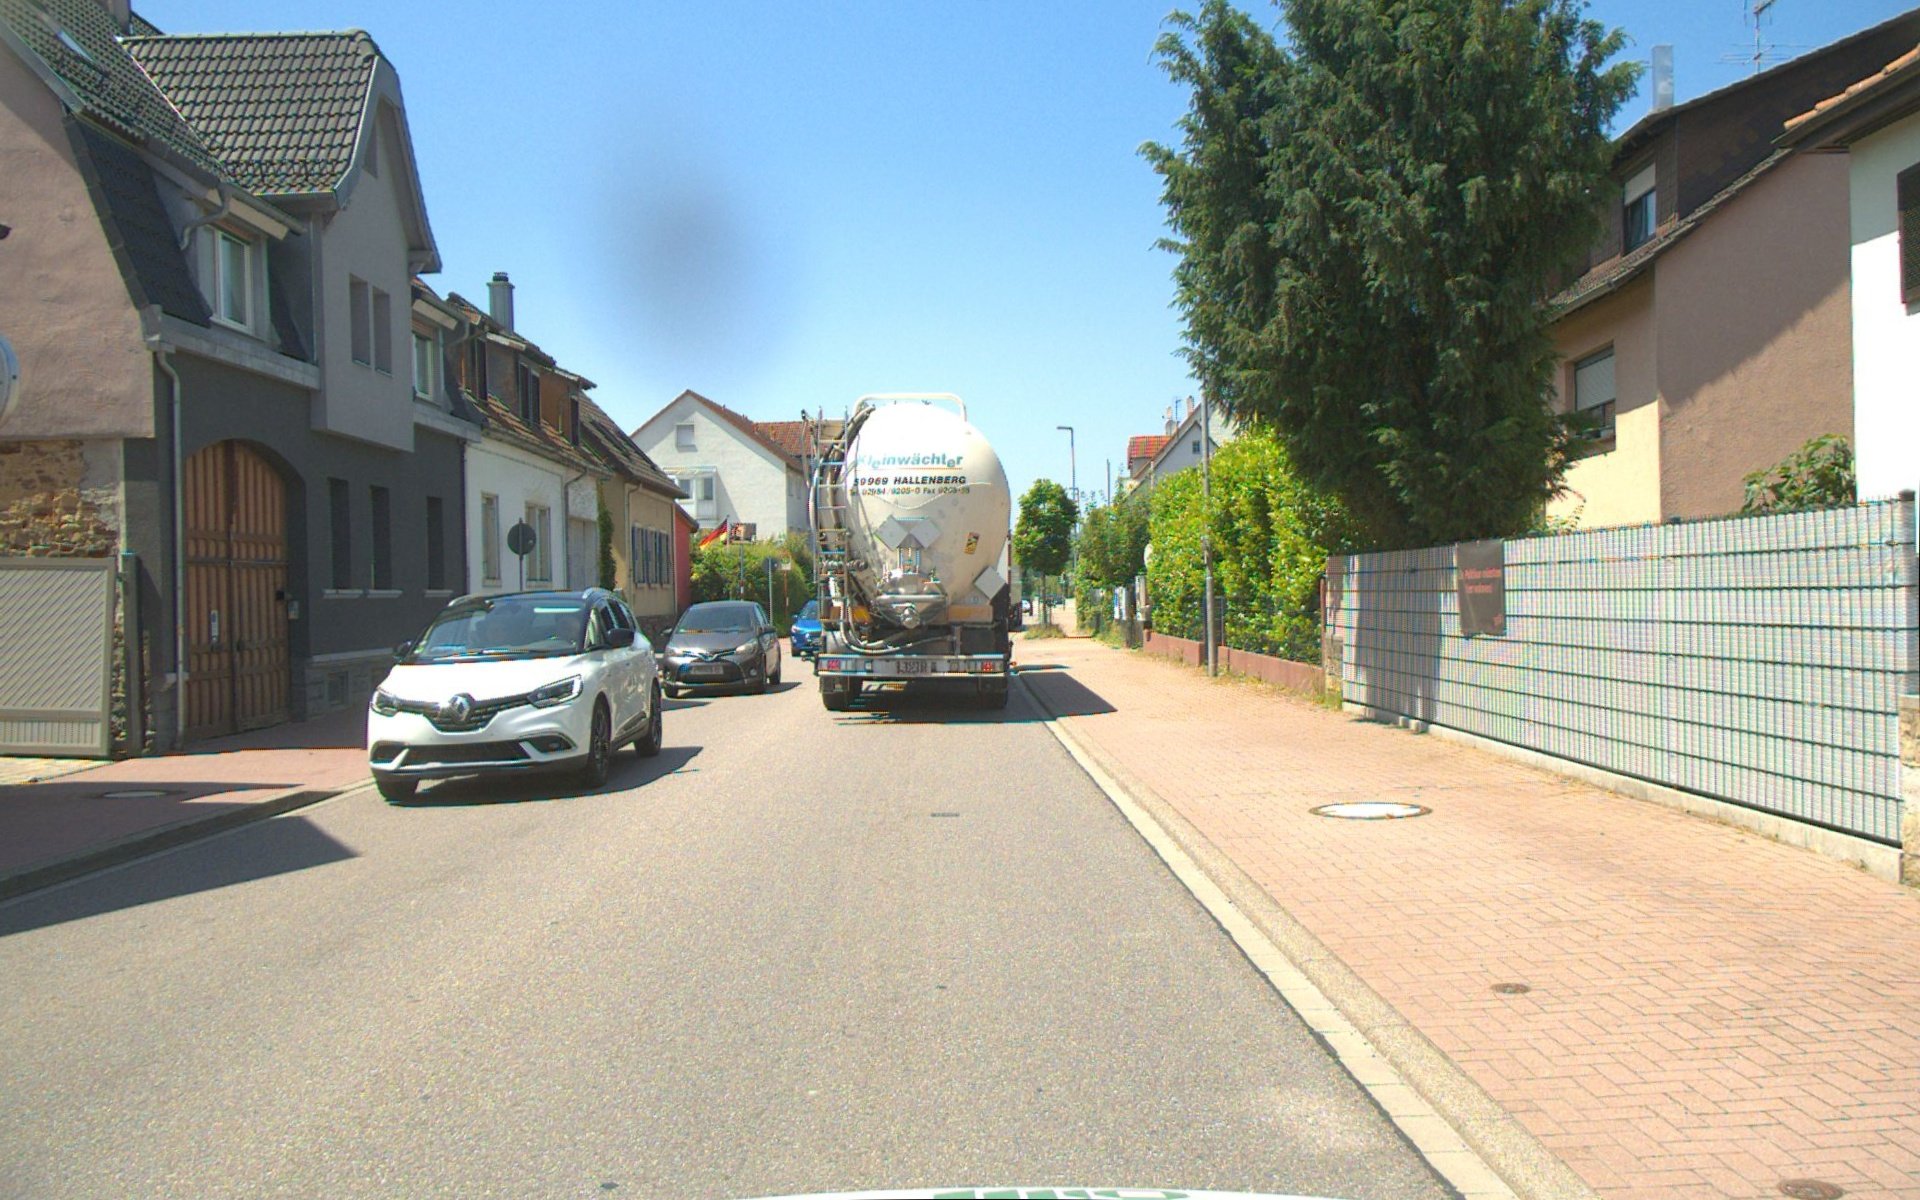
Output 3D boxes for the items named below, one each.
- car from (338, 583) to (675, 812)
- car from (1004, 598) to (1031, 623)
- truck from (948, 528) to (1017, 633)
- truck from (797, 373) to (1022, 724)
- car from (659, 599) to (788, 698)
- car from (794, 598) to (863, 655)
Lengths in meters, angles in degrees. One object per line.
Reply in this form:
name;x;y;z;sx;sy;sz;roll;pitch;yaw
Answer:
car;-3.807;0.735;14.728;1.836;1.631;4.429;-3;0;-2
car;4.176;0.737;119.758;1.834;1.583;4.631;-2;2;3
truck;1.122;-0.847;73.923;2.586;4.298;12.098;-1;0;3
truck;-0.670;-0.632;24.184;2.587;4.086;9.559;-1;0;-1
car;-3.976;0.777;28.336;1.642;1.484;3.927;-3;0;-1
car;-3.599;0.707;45.830;1.612;1.479;4.400;-1;0;-1
